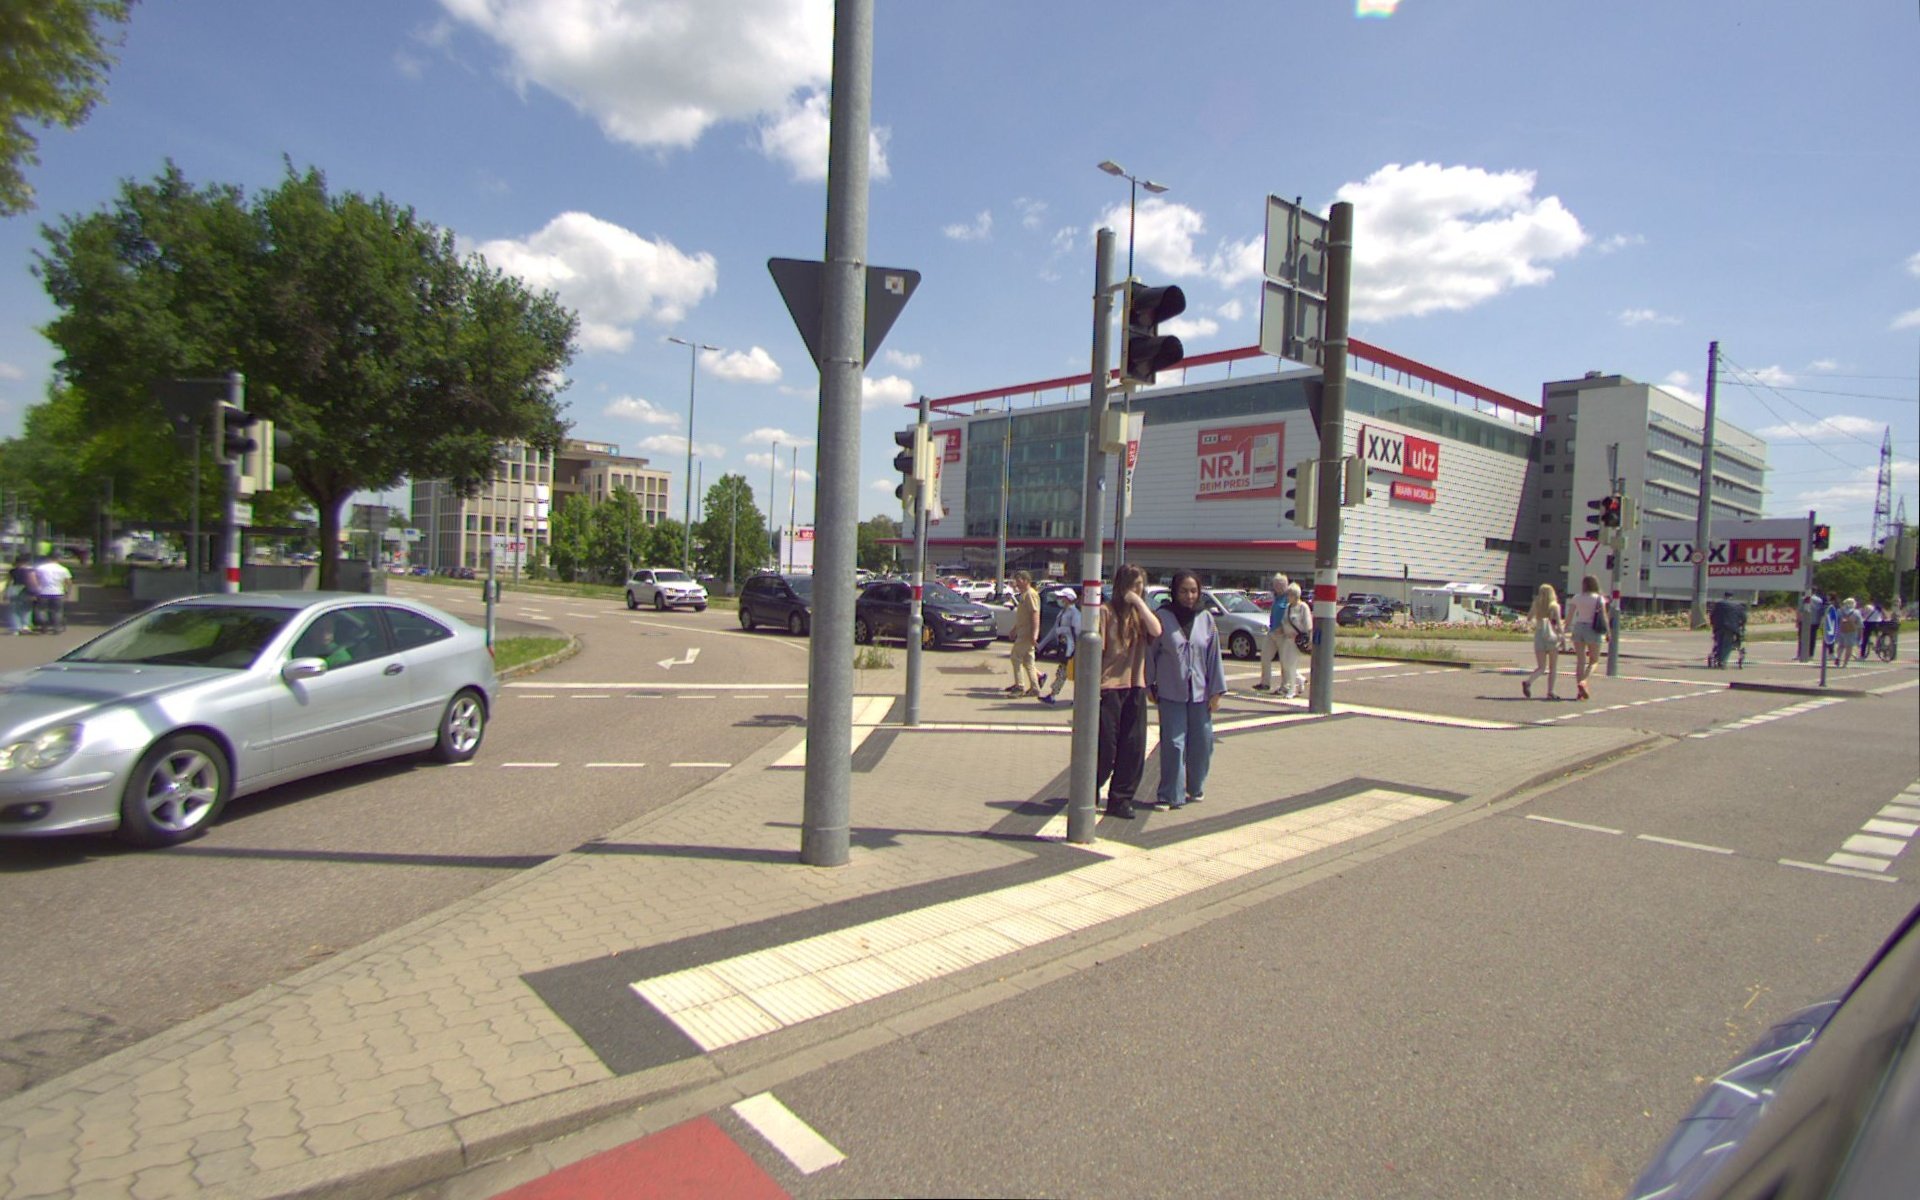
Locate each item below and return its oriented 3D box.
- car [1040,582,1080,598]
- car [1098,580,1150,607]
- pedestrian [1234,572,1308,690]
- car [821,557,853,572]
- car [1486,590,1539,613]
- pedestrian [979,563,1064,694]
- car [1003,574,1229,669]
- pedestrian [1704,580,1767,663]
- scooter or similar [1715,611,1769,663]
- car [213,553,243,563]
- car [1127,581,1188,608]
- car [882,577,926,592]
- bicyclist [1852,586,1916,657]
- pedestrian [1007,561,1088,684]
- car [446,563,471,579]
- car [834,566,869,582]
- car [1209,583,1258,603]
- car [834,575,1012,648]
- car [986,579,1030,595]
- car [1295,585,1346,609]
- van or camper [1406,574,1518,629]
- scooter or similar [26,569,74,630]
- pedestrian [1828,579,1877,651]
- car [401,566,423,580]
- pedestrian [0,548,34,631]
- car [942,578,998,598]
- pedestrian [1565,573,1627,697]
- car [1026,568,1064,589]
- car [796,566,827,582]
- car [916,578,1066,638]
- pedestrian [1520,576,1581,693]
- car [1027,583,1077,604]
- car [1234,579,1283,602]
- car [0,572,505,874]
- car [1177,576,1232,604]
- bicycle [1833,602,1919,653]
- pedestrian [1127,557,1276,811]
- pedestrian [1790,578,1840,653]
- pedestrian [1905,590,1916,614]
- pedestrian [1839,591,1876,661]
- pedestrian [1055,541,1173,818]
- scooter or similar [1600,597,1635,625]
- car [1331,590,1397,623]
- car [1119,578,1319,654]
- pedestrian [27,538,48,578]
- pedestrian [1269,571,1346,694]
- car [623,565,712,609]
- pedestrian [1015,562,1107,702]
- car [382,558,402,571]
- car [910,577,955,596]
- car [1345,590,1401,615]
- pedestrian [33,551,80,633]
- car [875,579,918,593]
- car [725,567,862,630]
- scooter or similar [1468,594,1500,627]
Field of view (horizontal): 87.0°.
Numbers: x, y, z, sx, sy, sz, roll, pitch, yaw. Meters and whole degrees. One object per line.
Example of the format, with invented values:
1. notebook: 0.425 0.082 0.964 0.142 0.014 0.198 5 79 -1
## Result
1. car: 9.853 -0.959 100.060 3.930 1.546 1.692 0 1 -41
2. car: 13.006 -0.550 80.021 3.928 2.039 1.998 -1 1 -39
3. pedestrian: 4.515 0.422 14.714 0.846 1.658 0.605 -1 1 -26
4. car: -16.847 -4.824 138.624 3.930 2.039 1.997 0 1 -41
5. car: 39.687 0.108 72.662 4.442 1.583 1.996 1 1 -43
6. pedestrian: 0.812 0.360 13.533 0.834 1.680 0.799 1 1 -24
7. car: 2.914 0.314 19.466 1.966 1.574 3.994 -3 3 -41
8. pedestrian: 16.372 0.442 21.366 0.928 1.693 0.785 0 1 -34
9. scooter or similar: 16.649 0.770 21.543 0.847 1.044 0.691 0 1 -37
10. car: -120.323 -6.902 166.341 1.781 1.632 3.664 1 1 24
11. car: 15.319 -0.436 78.509 4.876 2.039 1.998 -1 1 -39
12. car: -5.658 -1.578 102.832 4.177 1.430 1.860 0 1 -38
13. bicyclist: 23.347 0.532 25.585 0.801 1.722 0.799 2 1 -1
14. pedestrian: 1.228 0.301 14.306 0.834 1.680 0.799 1 1 -24
15. car: -63.346 -3.650 127.897 1.964 2.039 3.996 0 1 -40
16. car: -13.712 -3.283 128.244 3.931 2.039 1.996 0 1 -42
17. car: 24.330 -0.642 89.946 4.439 1.756 1.998 0 1 -40
18. car: -0.958 0.198 23.602 1.820 1.461 4.410 0 2 -40
19. car: 4.516 -1.197 95.119 3.926 1.457 1.854 0 1 -37
20. car: 30.073 -0.270 84.286 4.439 1.918 1.998 0 1 -40
21. van or camper: 29.130 0.020 58.612 7.472 2.983 2.717 -1 1 -37
22. scooter or similar: -18.868 -0.019 20.980 0.716 1.213 1.075 0 1 -43
23. pedestrian: 22.613 0.354 25.644 0.800 1.782 0.788 1 1 34
24. car: -65.786 -3.262 121.516 1.730 1.632 3.545 0 1 -40
25. pedestrian: -18.600 -0.209 19.833 0.609 1.606 0.623 2 1 43
26. car: 0.903 -1.084 89.362 4.779 1.723 1.854 0 1 -37
27. pedestrian: 8.905 0.470 14.165 0.628 1.687 0.528 0 1 -37
28. car: 8.543 -2.115 101.427 3.540 2.039 1.723 0 1 -40
29. car: -19.984 -3.476 136.058 3.702 2.039 1.655 1 1 -39
30. car: 0.724 0.167 26.729 1.770 1.415 4.233 -2 2 -35
31. pedestrian: 8.286 0.468 14.196 0.601 1.599 0.528 0 1 -37
32. car: 7.264 -0.506 79.531 1.849 1.565 3.935 1 1 45
33. car: 25.847 -0.821 87.547 4.439 1.918 1.998 0 1 -40
34. car: -5.130 0.542 7.050 1.702 1.436 4.316 0 1 5
35. car: 18.062 -0.742 74.676 4.406 1.936 1.590 0 1 -38
36. bicycle: 23.301 0.677 25.554 0.815 1.176 1.880 2 1 -1
37. pedestrian: 1.629 0.534 6.964 0.753 1.626 0.897 1 1 -2
38. pedestrian: 21.999 0.391 26.048 0.783 1.888 0.806 0 1 -37
39. pedestrian: 73.254 0.136 78.002 0.623 1.815 0.518 1 1 -41
40. pedestrian: 19.608 0.550 22.127 0.588 1.494 0.794 0 0 40
41. pedestrian: 0.985 0.483 6.607 0.613 1.704 0.726 1 1 -2
42. scooter or similar: 27.897 0.466 42.953 1.252 1.140 0.481 -3 1 -12
43. car: 25.901 0.404 64.845 4.371 2.039 1.999 1 1 -38
44. car: 5.449 0.290 21.652 1.772 1.414 3.832 1 1 -40
45. pedestrian: -37.341 -1.702 40.944 0.766 1.606 0.571 2 1 44
46. pedestrian: 4.875 0.432 14.212 0.846 1.658 0.609 -1 1 -26
47. car: -11.866 -0.531 40.889 1.964 1.660 4.078 1 1 -40
48. pedestrian: 1.257 0.376 12.700 0.834 1.680 0.799 1 1 -27
49. car: -73.874 -4.586 131.578 1.730 1.632 3.545 0 1 -40
50. car: -2.653 -1.291 99.166 4.094 1.723 1.854 1 1 -38
51. car: 30.865 0.159 75.584 4.422 1.738 1.998 -1 1 -39
52. pedestrian: -18.066 -0.170 20.227 0.918 1.606 0.623 2 1 44
53. car: -6.609 -1.487 105.031 4.178 1.430 1.860 0 1 -38
54. car: -4.717 -0.082 28.229 1.830 1.604 4.410 0 1 -39
55. scooter or similar: 21.360 0.413 41.254 1.252 1.307 0.481 0 0 -23
